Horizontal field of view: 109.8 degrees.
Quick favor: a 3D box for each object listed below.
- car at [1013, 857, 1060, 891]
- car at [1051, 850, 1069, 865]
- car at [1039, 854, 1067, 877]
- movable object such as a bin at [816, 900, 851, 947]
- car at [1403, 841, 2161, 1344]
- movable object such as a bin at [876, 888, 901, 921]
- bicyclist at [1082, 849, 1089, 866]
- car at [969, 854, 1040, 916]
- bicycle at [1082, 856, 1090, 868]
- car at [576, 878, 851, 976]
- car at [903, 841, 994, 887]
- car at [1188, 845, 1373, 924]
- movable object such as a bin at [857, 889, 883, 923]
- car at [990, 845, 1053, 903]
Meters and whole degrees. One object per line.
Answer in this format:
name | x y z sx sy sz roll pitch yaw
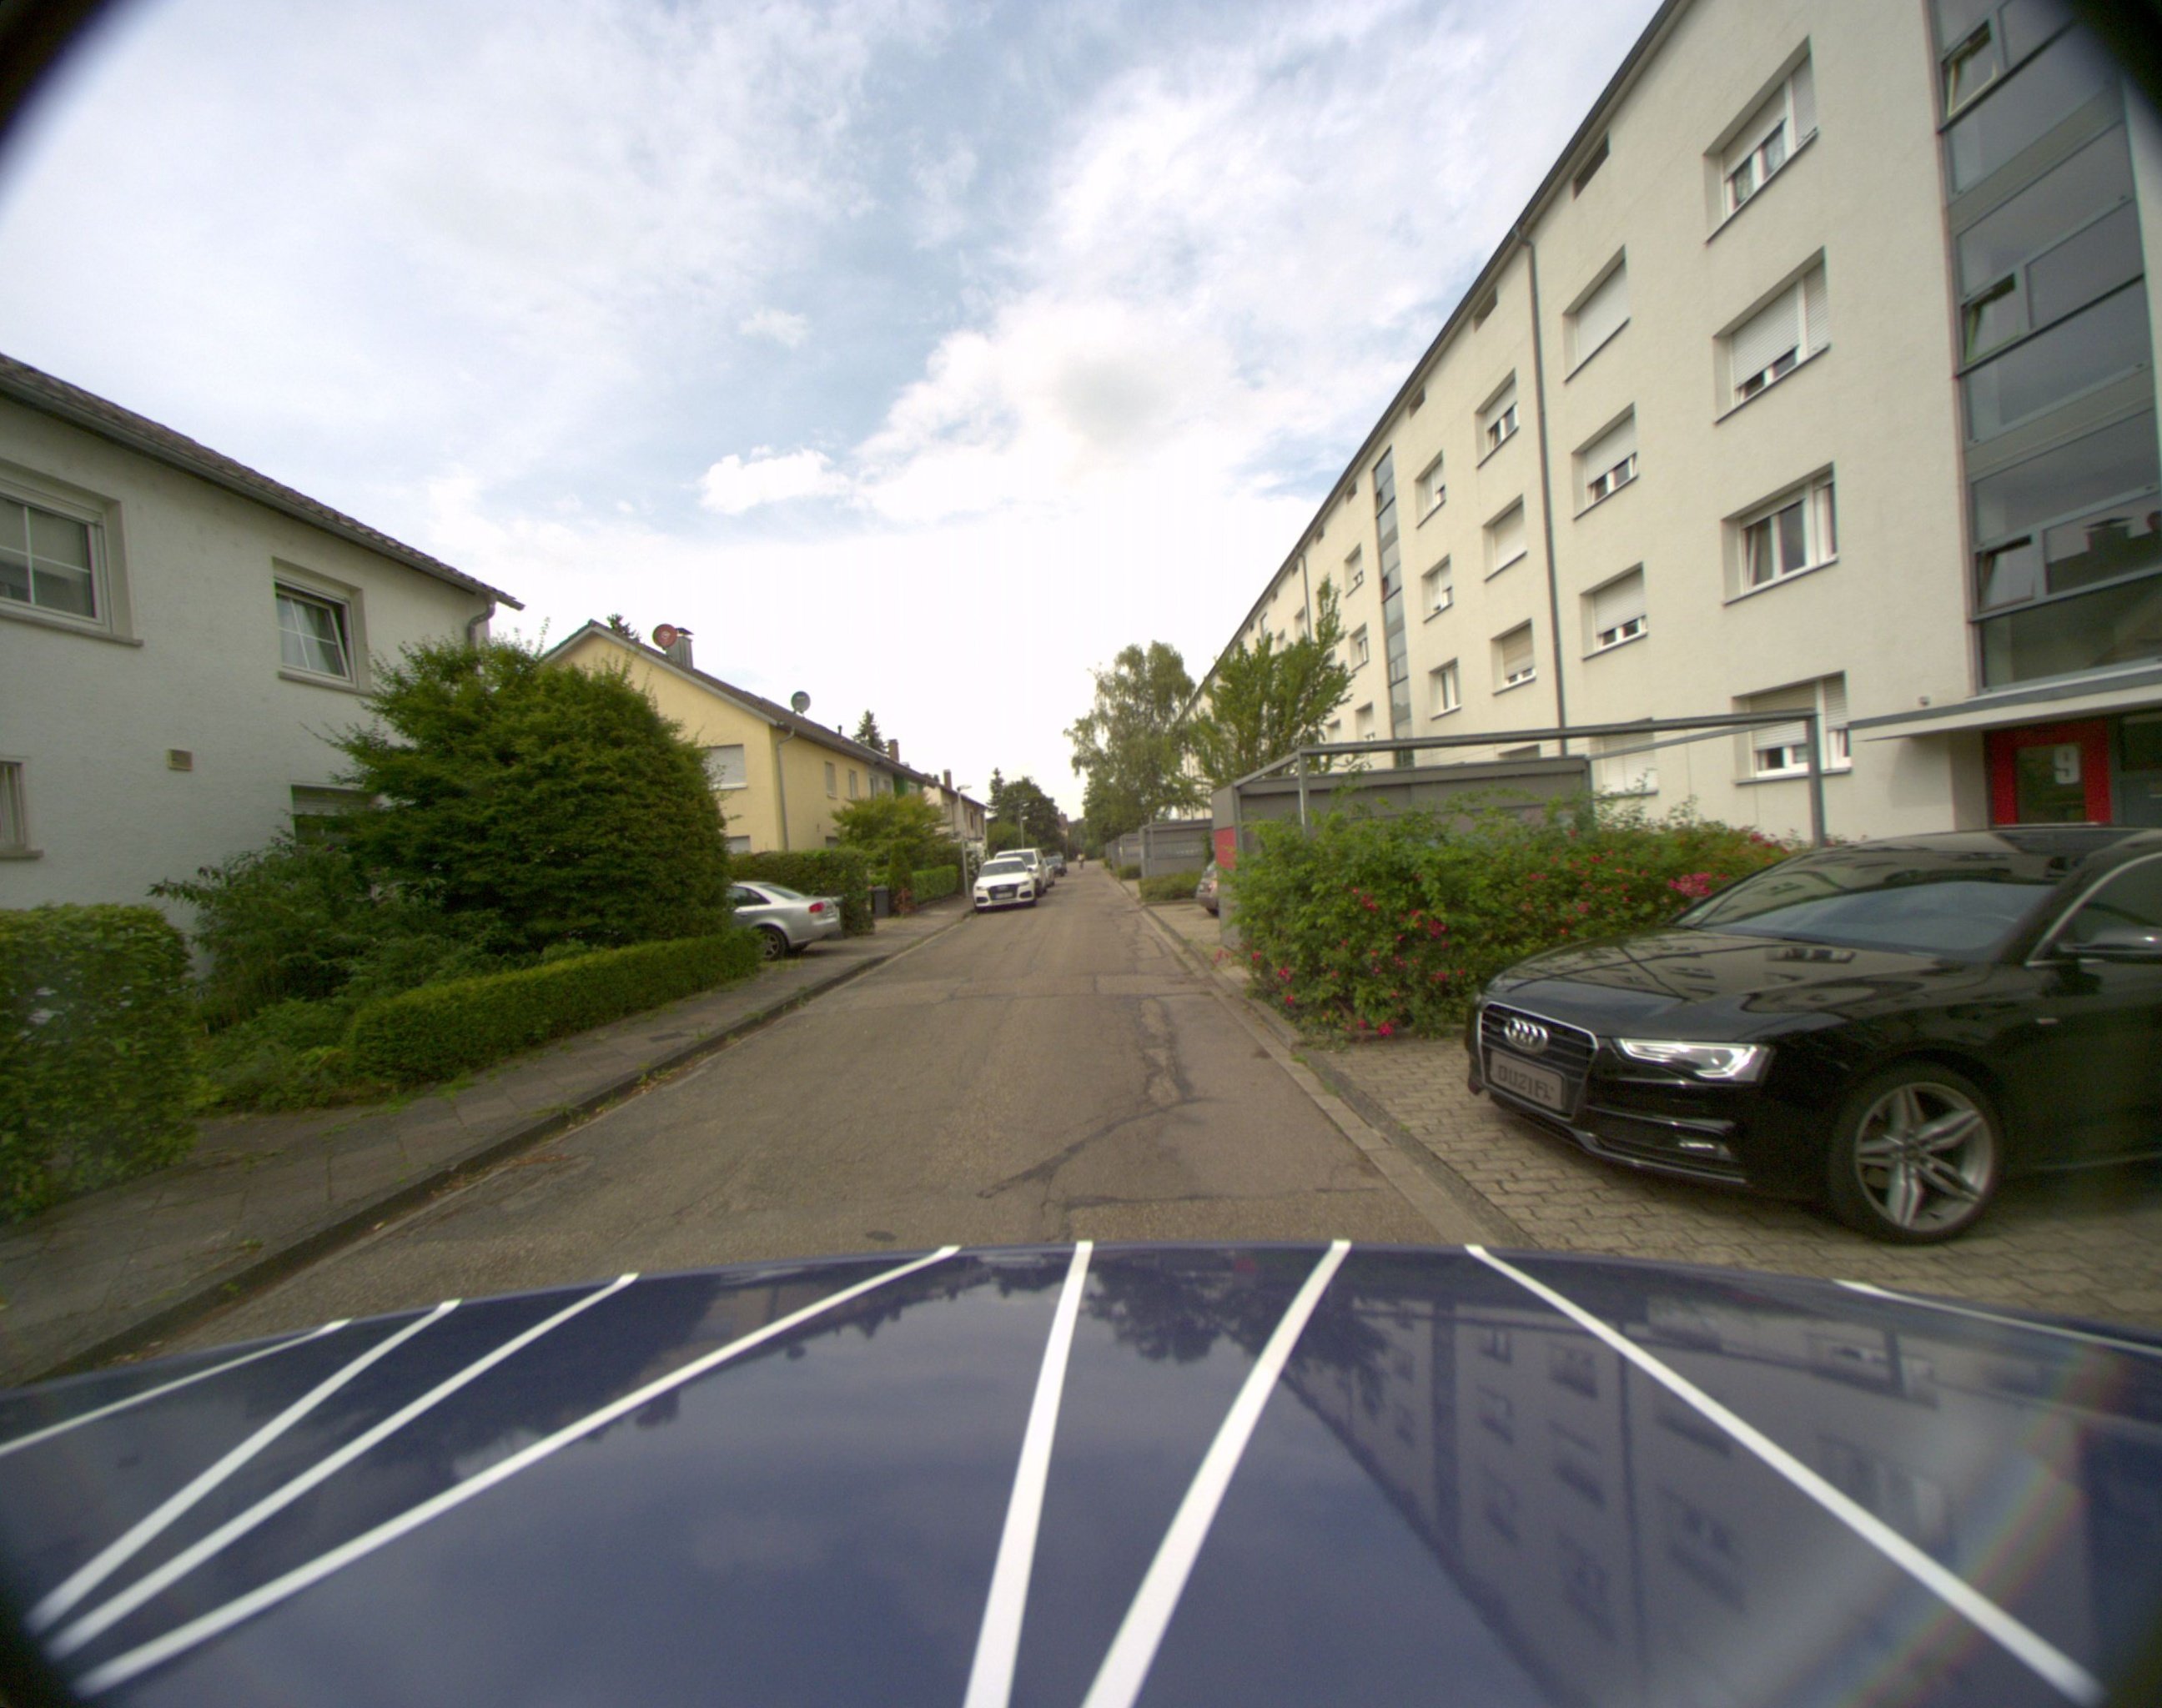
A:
car | -2.185 0.978 38.447 1.788 1.412 4.455 -6 0 2
car | -2.549 0.407 91.246 1.926 1.576 3.999 -6 0 -2
car | -1.994 0.810 55.438 1.834 1.449 4.189 -5 0 -1
movable object such as a bin | -5.298 1.482 16.265 0.511 0.916 0.500 -4 1 0
car | 4.105 0.745 3.553 4.336 1.368 1.922 -4 0 -5
movable object such as a bin | -5.395 1.412 21.319 0.511 0.863 0.529 -4 1 0
bicyclist | 0.434 0.356 72.890 0.598 1.572 0.767 -3 1 2
car | -2.330 0.907 24.110 1.830 1.626 4.161 -6 0 -2
bicycle | 0.473 0.744 73.034 0.598 1.070 2.042 -3 0 2
car | -6.468 1.249 13.785 4.032 1.419 1.852 -2 0 -5
car | -8.155 0.627 47.278 5.100 2.527 2.238 -3 1 1
car | 4.353 0.647 16.941 3.572 1.472 1.710 -3 0 -3
movable object such as a bin | -5.920 1.455 21.330 0.511 0.863 0.529 -4 1 0
car | -2.285 0.716 30.404 1.908 1.953 5.253 -6 0 0
